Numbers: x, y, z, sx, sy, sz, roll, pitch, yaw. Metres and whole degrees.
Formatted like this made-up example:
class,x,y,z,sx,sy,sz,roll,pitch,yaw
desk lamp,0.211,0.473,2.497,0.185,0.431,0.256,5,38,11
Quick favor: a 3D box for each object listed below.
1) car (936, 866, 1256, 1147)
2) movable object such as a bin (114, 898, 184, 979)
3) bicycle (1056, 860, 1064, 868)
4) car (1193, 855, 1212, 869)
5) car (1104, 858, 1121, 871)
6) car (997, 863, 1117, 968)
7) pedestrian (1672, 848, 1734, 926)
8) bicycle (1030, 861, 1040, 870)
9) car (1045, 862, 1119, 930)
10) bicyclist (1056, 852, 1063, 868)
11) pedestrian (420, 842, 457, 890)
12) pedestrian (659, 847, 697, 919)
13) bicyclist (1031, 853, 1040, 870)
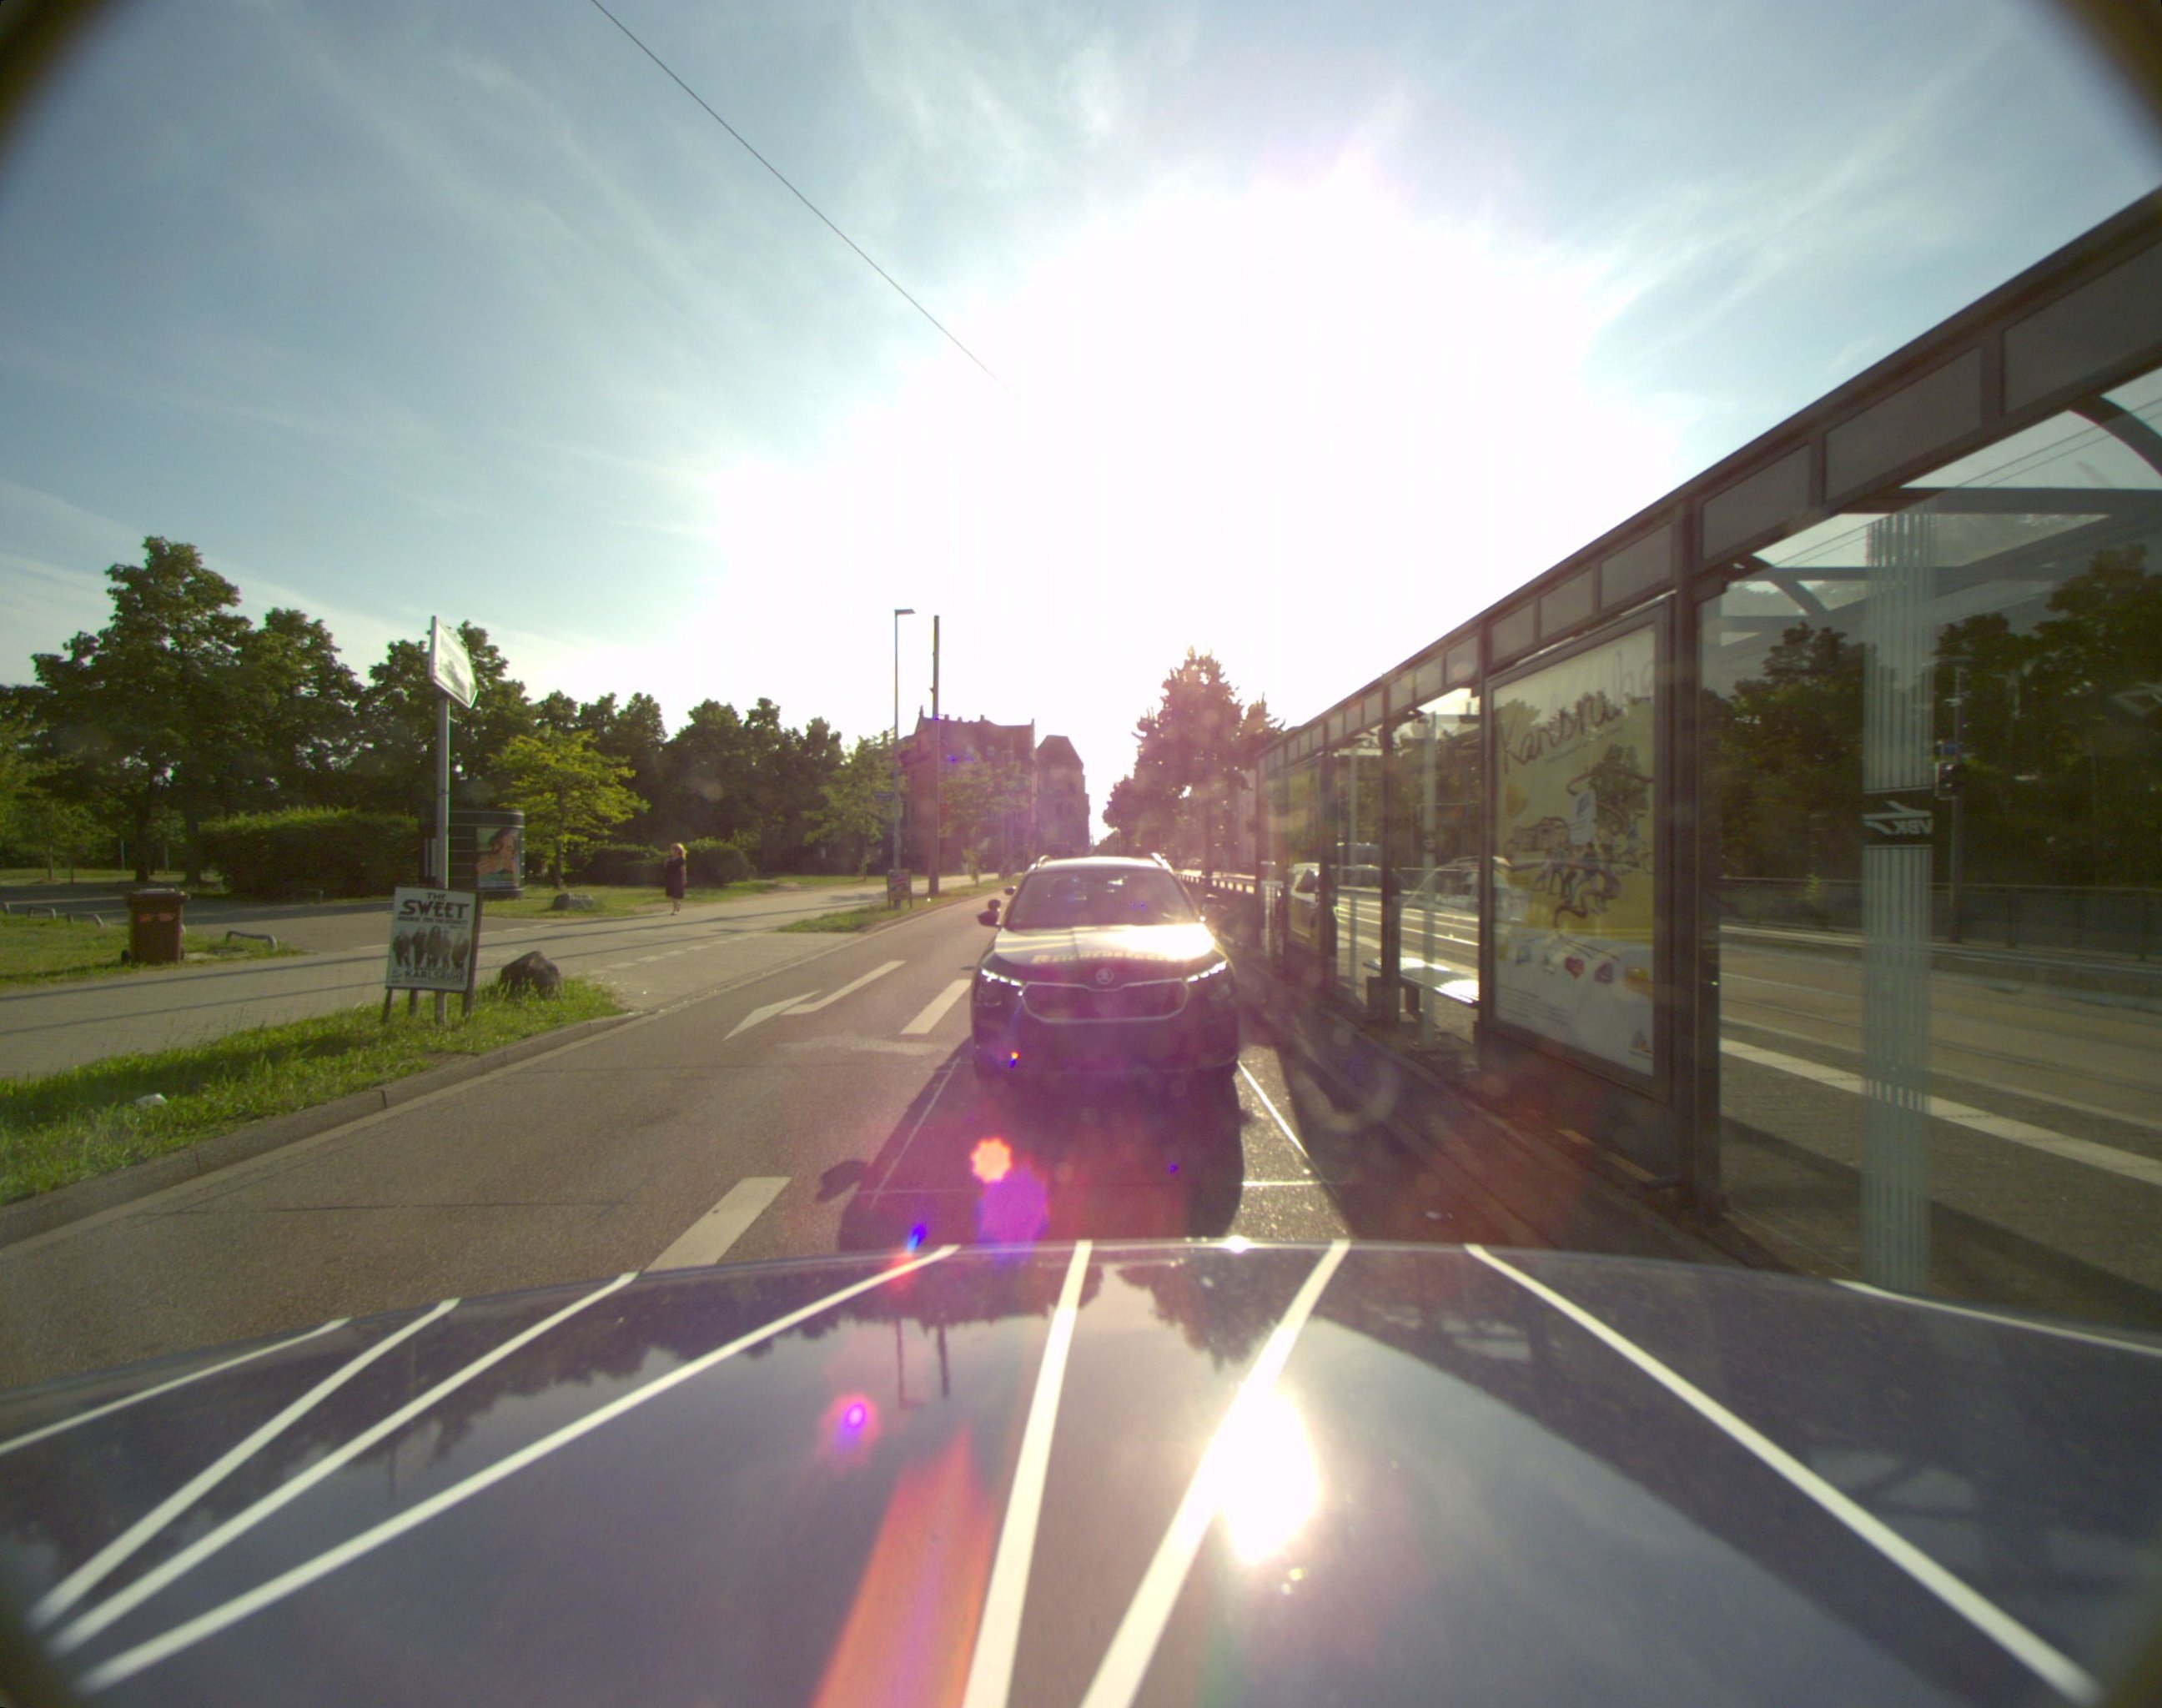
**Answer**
class,x,y,z,sx,sy,sz,roll,pitch,yaw
car,0.106,0.886,6.245,1.781,1.496,4.000,0,0,1
movable object such as a bin,-11.338,1.009,9.253,0.502,0.898,0.526,1,1,39
bicycle,-2.301,1.082,83.603,0.740,0.912,2.094,0,0,0
car,16.927,1.100,105.916,1.998,2.002,4.000,0,0,0
car,4.239,1.410,101.943,1.999,1.674,3.999,0,0,-1
car,-0.332,0.933,13.243,1.781,1.496,4.000,0,0,1
pedestrian,13.149,0.686,16.083,0.736,1.618,0.689,0,0,1
bicycle,-4.923,1.202,81.763,0.740,0.912,2.095,0,0,6
car,0.047,0.965,19.087,1.672,1.496,3.872,0,0,1
bicyclist,-2.328,0.649,83.687,0.730,1.763,1.015,0,0,-1
pedestrian,-28.842,0.526,34.132,0.910,2.145,0.891,0,0,13
pedestrian,-9.653,0.680,18.224,0.558,1.691,0.662,0,1,0
bicyclist,-4.918,0.783,81.757,0.753,1.763,1.119,0,0,6
